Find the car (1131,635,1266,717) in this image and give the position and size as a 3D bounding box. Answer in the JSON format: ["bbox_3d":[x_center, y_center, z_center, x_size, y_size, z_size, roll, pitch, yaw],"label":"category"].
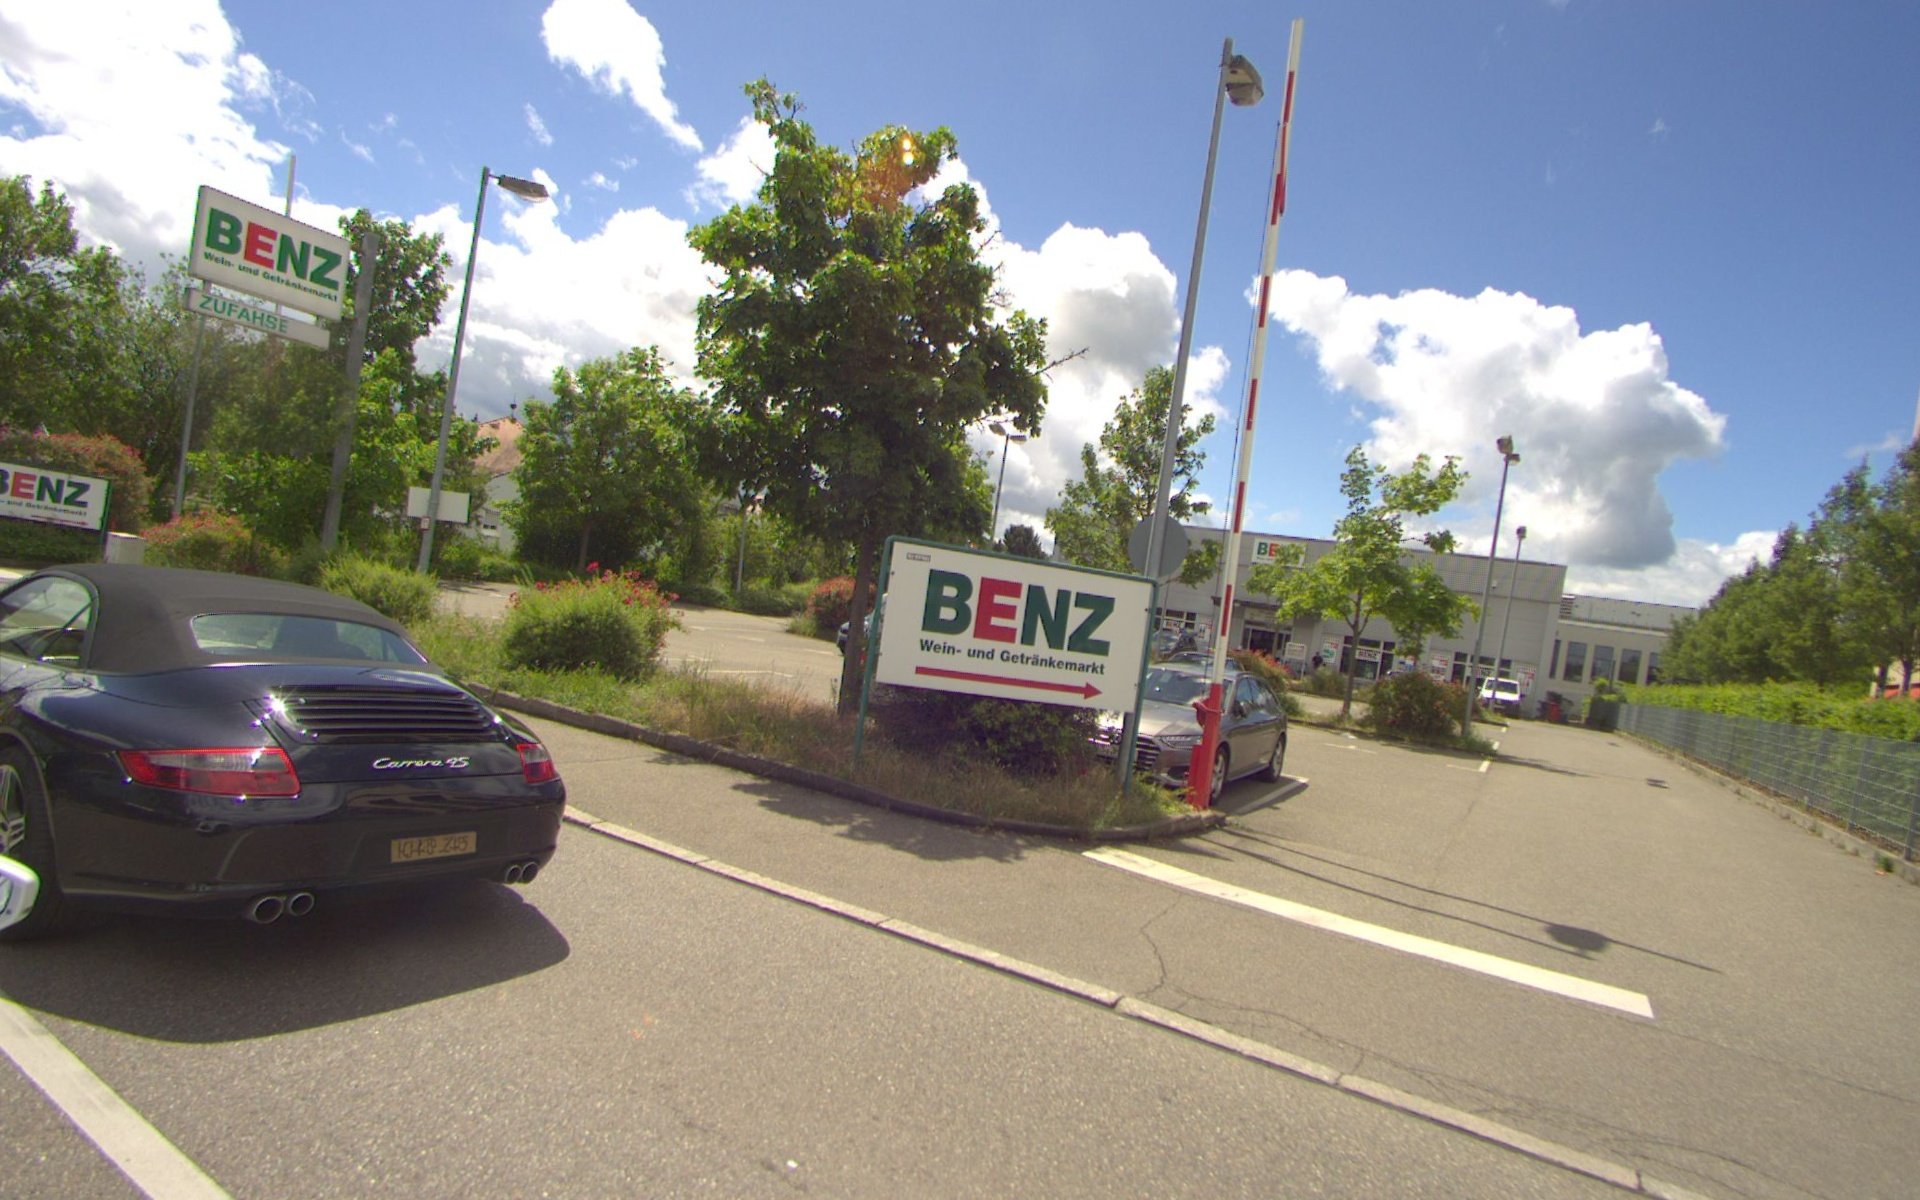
[{"bbox_3d":[5.767,1.785,23.942,1.856,1.509,4.440,8,0,29],"label":"car"}]

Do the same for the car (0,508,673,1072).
[{"bbox_3d":[-3.604,0.466,4.769,4.138,1.393,1.933,9,0,32],"label":"car"}]

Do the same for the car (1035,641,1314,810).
[{"bbox_3d":[2.882,1.436,12.647,1.967,1.500,4.437,7,0,31],"label":"car"}]

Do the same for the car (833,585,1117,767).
[{"bbox_3d":[0.452,0.968,13.941,2.051,1.871,4.718,7,0,25],"label":"car"}]

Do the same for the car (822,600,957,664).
[{"bbox_3d":[-1.910,0.934,28.290,1.856,1.386,3.878,8,0,29],"label":"car"}]
